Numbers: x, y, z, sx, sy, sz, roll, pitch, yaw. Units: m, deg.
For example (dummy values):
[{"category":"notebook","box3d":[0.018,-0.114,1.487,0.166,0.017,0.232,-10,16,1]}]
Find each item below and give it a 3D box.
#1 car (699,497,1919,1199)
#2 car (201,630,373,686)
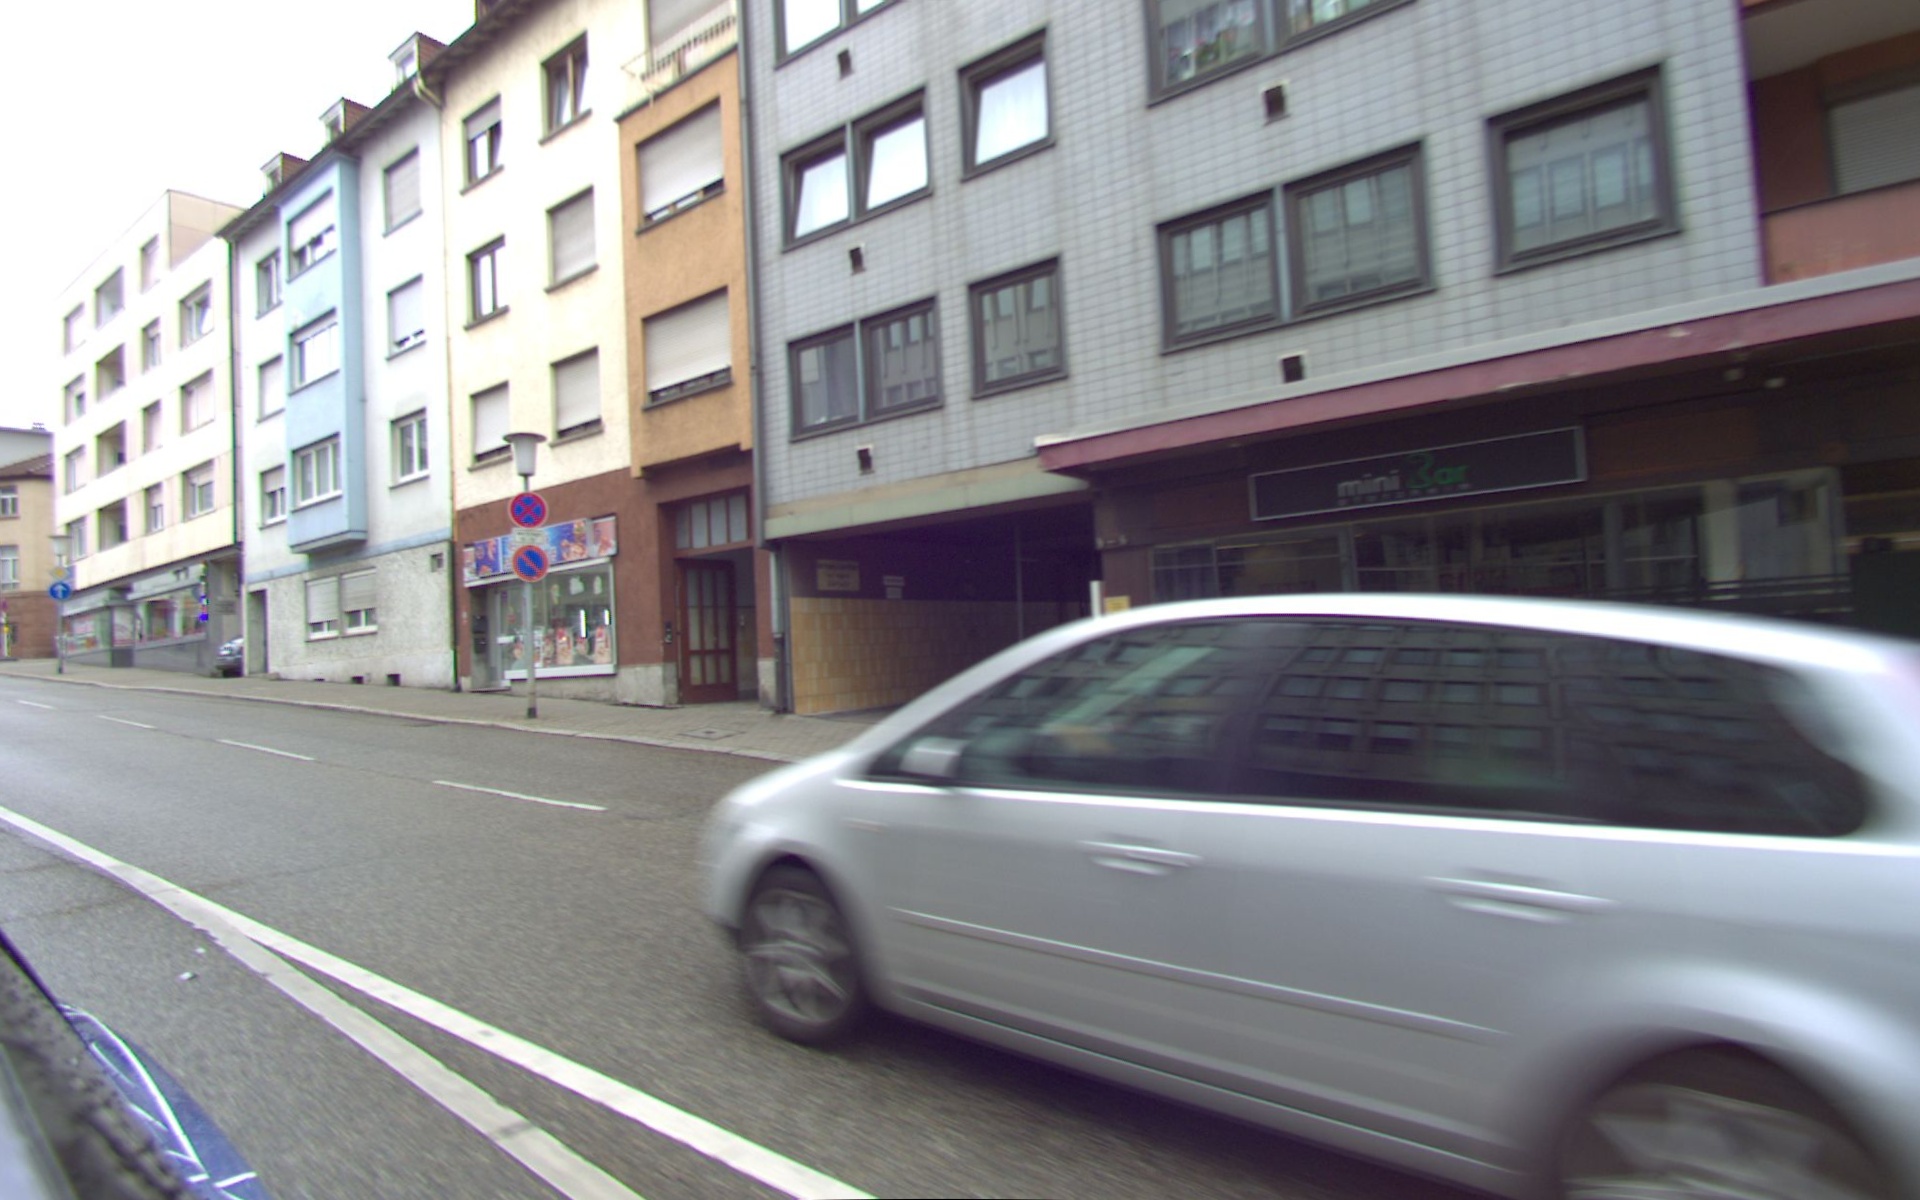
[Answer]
[{"category":"car","box3d":[1.238,0.671,3.159,4.168,1.605,1.719,-1,-3,37]},{"category":"car","box3d":[-20.405,1.823,30.862,1.672,1.361,3.959,-4,-9,29]}]
